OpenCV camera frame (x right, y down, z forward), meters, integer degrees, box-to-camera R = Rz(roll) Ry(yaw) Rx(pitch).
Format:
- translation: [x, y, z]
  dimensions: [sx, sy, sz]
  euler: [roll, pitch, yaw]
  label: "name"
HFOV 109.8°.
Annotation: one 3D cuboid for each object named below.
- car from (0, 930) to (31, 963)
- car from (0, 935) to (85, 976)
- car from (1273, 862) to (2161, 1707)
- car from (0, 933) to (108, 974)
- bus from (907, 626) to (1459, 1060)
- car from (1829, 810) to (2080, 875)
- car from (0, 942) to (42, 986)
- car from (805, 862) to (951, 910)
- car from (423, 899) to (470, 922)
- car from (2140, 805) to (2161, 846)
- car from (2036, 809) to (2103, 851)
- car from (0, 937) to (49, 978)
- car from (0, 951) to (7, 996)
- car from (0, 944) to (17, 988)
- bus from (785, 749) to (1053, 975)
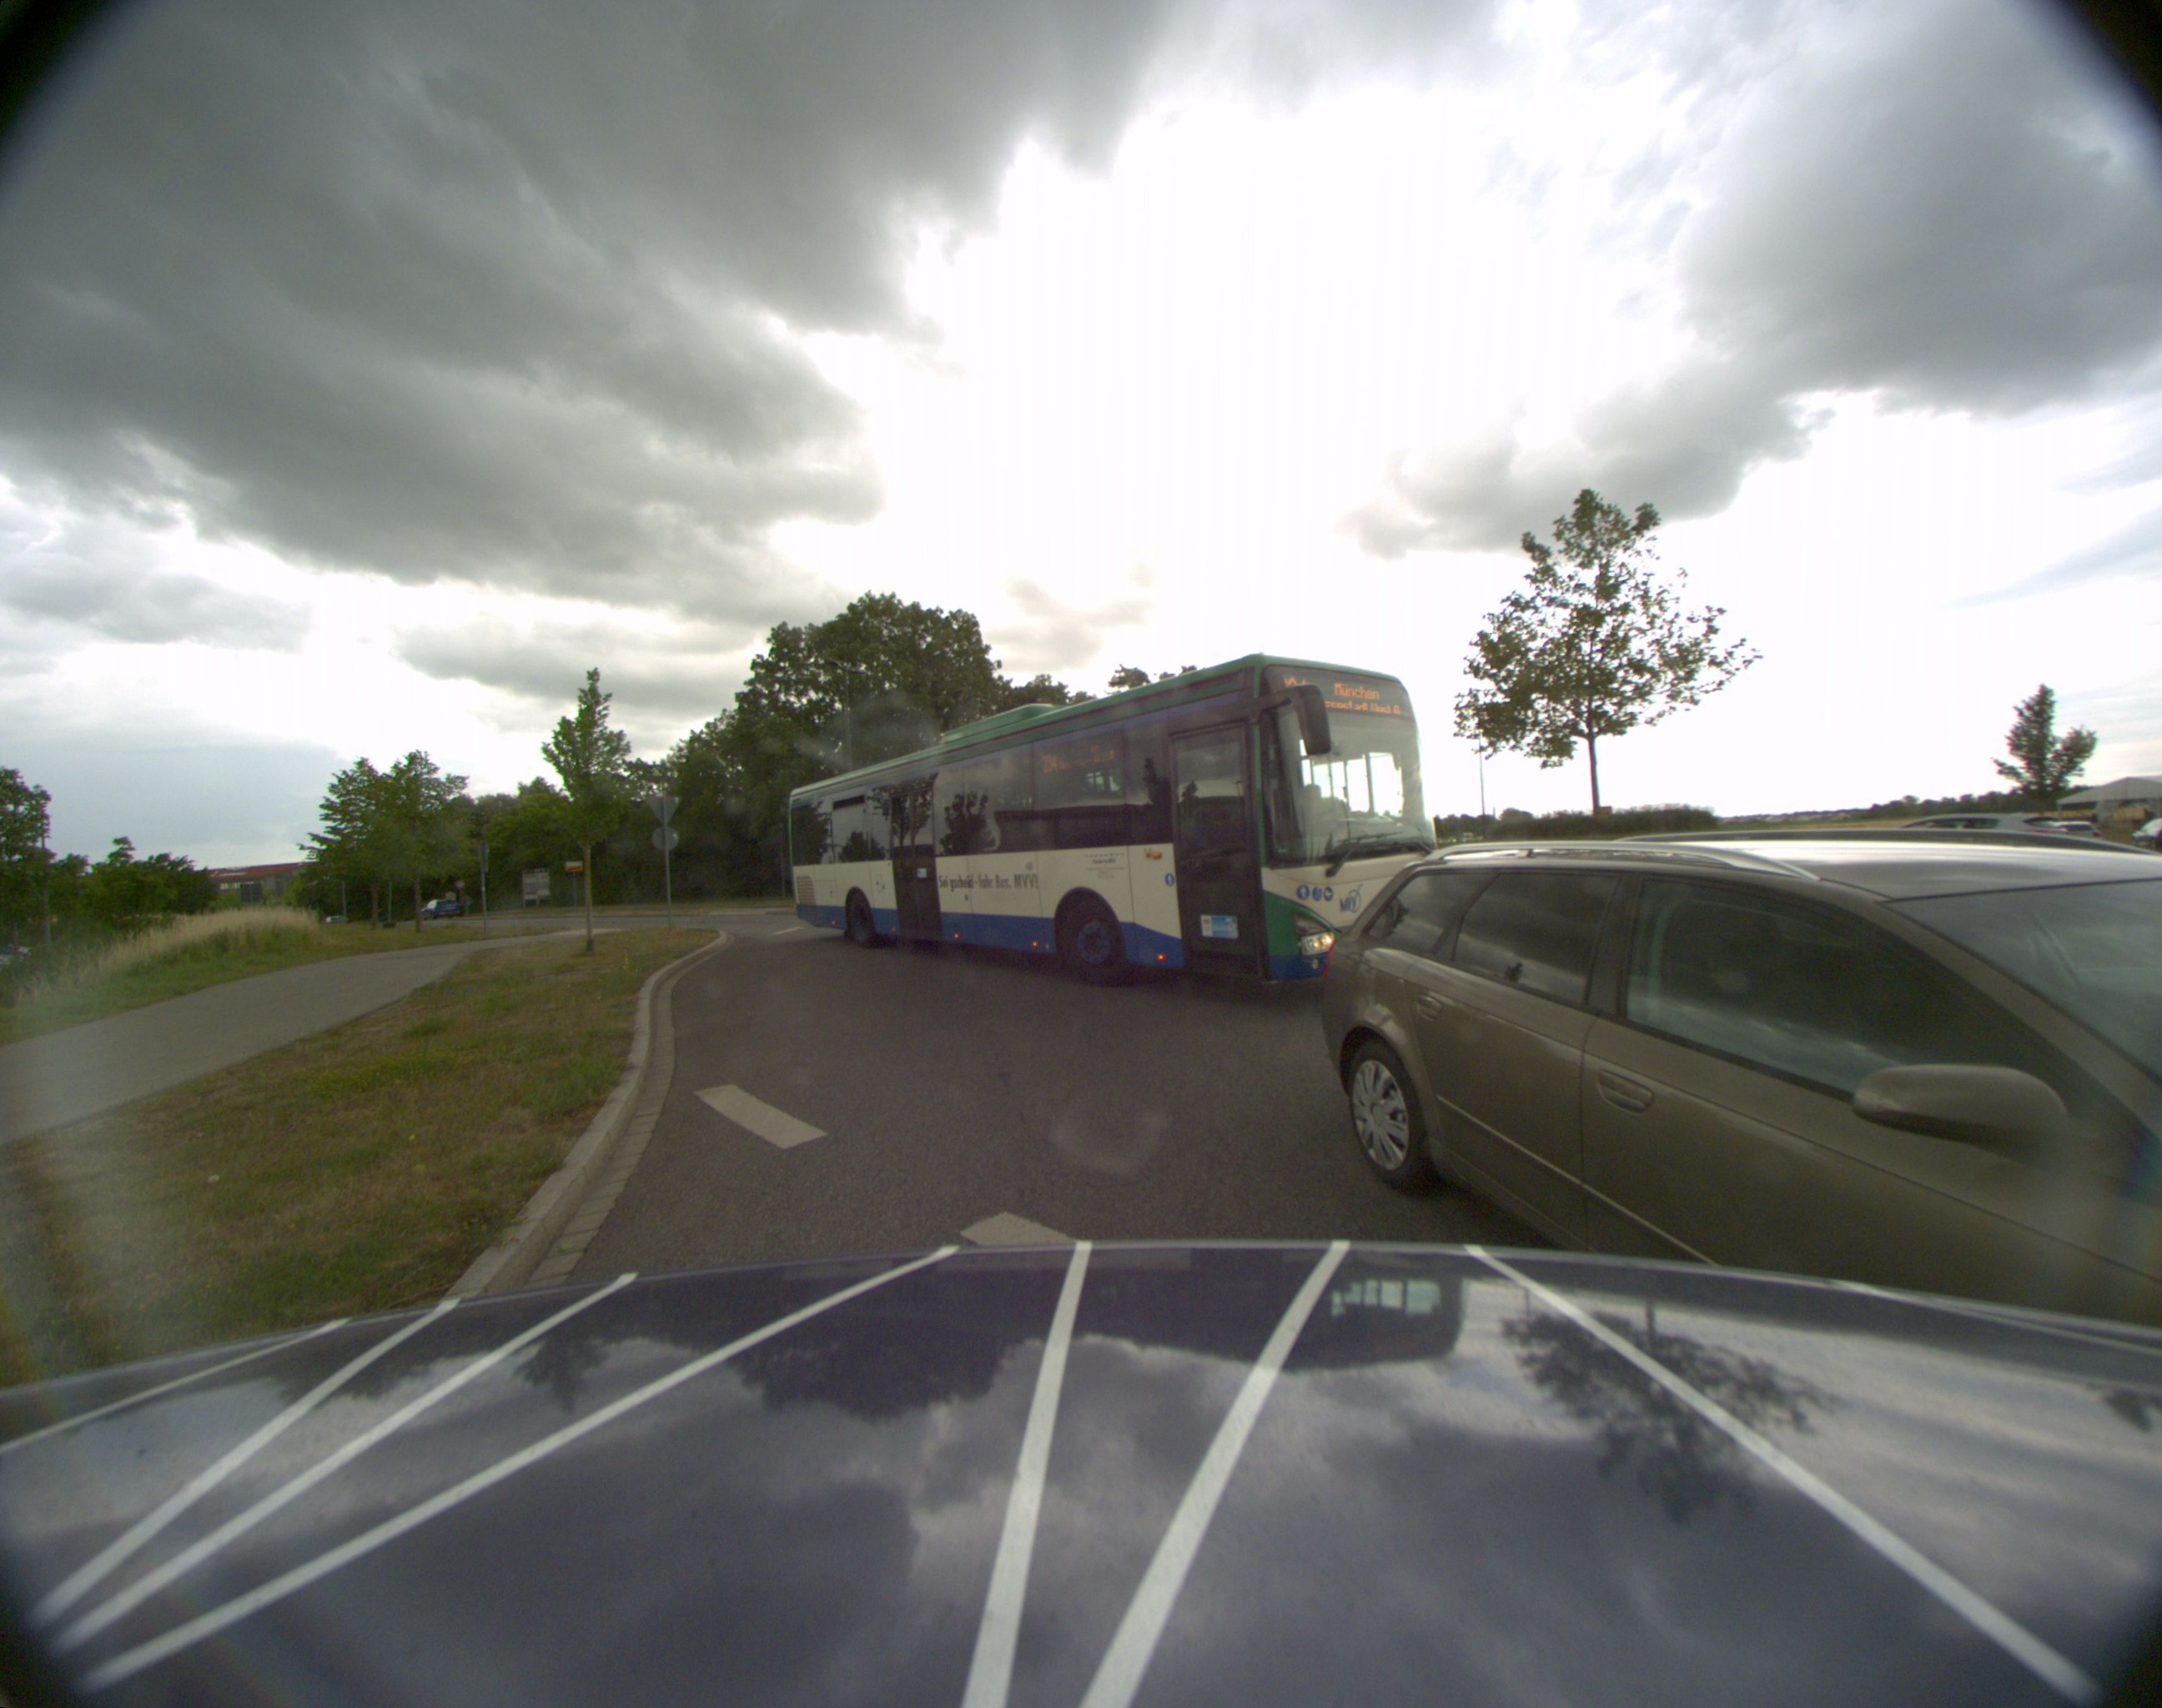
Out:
- translation: [-53.273, 4.566, 35.986]
  dimensions: [1.879, 1.435, 4.007]
  euler: [-3, 0, 34]
  label: "car"
- translation: [-46.722, 4.514, 32.998]
  dimensions: [3.896, 1.455, 1.693]
  euler: [-3, 0, -42]
  label: "car"
- translation: [2.215, 0.807, 1.845]
  dimensions: [1.783, 1.456, 4.538]
  euler: [-3, 0, -7]
  label: "car"
- translation: [-49.382, 4.732, 35.906]
  dimensions: [3.896, 1.455, 1.693]
  euler: [-3, 0, -42]
  label: "car"
- translation: [0.572, -0.097, 9.024]
  dimensions: [2.529, 3.239, 6.531]
  euler: [-3, 1, -38]
  label: "bus"
- translation: [24.946, -0.296, 21.976]
  dimensions: [1.714, 1.616, 4.445]
  euler: [-3, 1, -13]
  label: "car"
- translation: [-41.816, 4.260, 27.968]
  dimensions: [3.896, 1.455, 1.693]
  euler: [-3, 0, -42]
  label: "car"
- translation: [-7.880, 1.188, 29.820]
  dimensions: [5.288, 1.489, 1.971]
  euler: [-3, 0, -14]
  label: "car"
- translation: [-48.092, 4.309, 57.532]
  dimensions: [4.072, 1.422, 1.766]
  euler: [-6, 0, 37]
  label: "car"
- translation: [47.280, -1.302, 32.789]
  dimensions: [4.006, 1.544, 1.712]
  euler: [-5, 0, -36]
  label: "car"
- translation: [45.399, -1.108, 34.873]
  dimensions: [4.006, 1.544, 1.712]
  euler: [-5, 0, -36]
  label: "car"
- translation: [-44.263, 4.250, 29.976]
  dimensions: [3.896, 1.455, 1.693]
  euler: [-3, 0, -42]
  label: "car"
- translation: [-36.817, 4.007, 23.456]
  dimensions: [3.896, 1.455, 1.693]
  euler: [-3, 0, -42]
  label: "car"
- translation: [-39.664, 4.038, 25.726]
  dimensions: [3.896, 1.455, 1.693]
  euler: [-3, 0, -42]
  label: "car"
- translation: [-3.172, 0.089, 13.792]
  dimensions: [2.529, 3.239, 5.446]
  euler: [-3, 1, -38]
  label: "bus"
